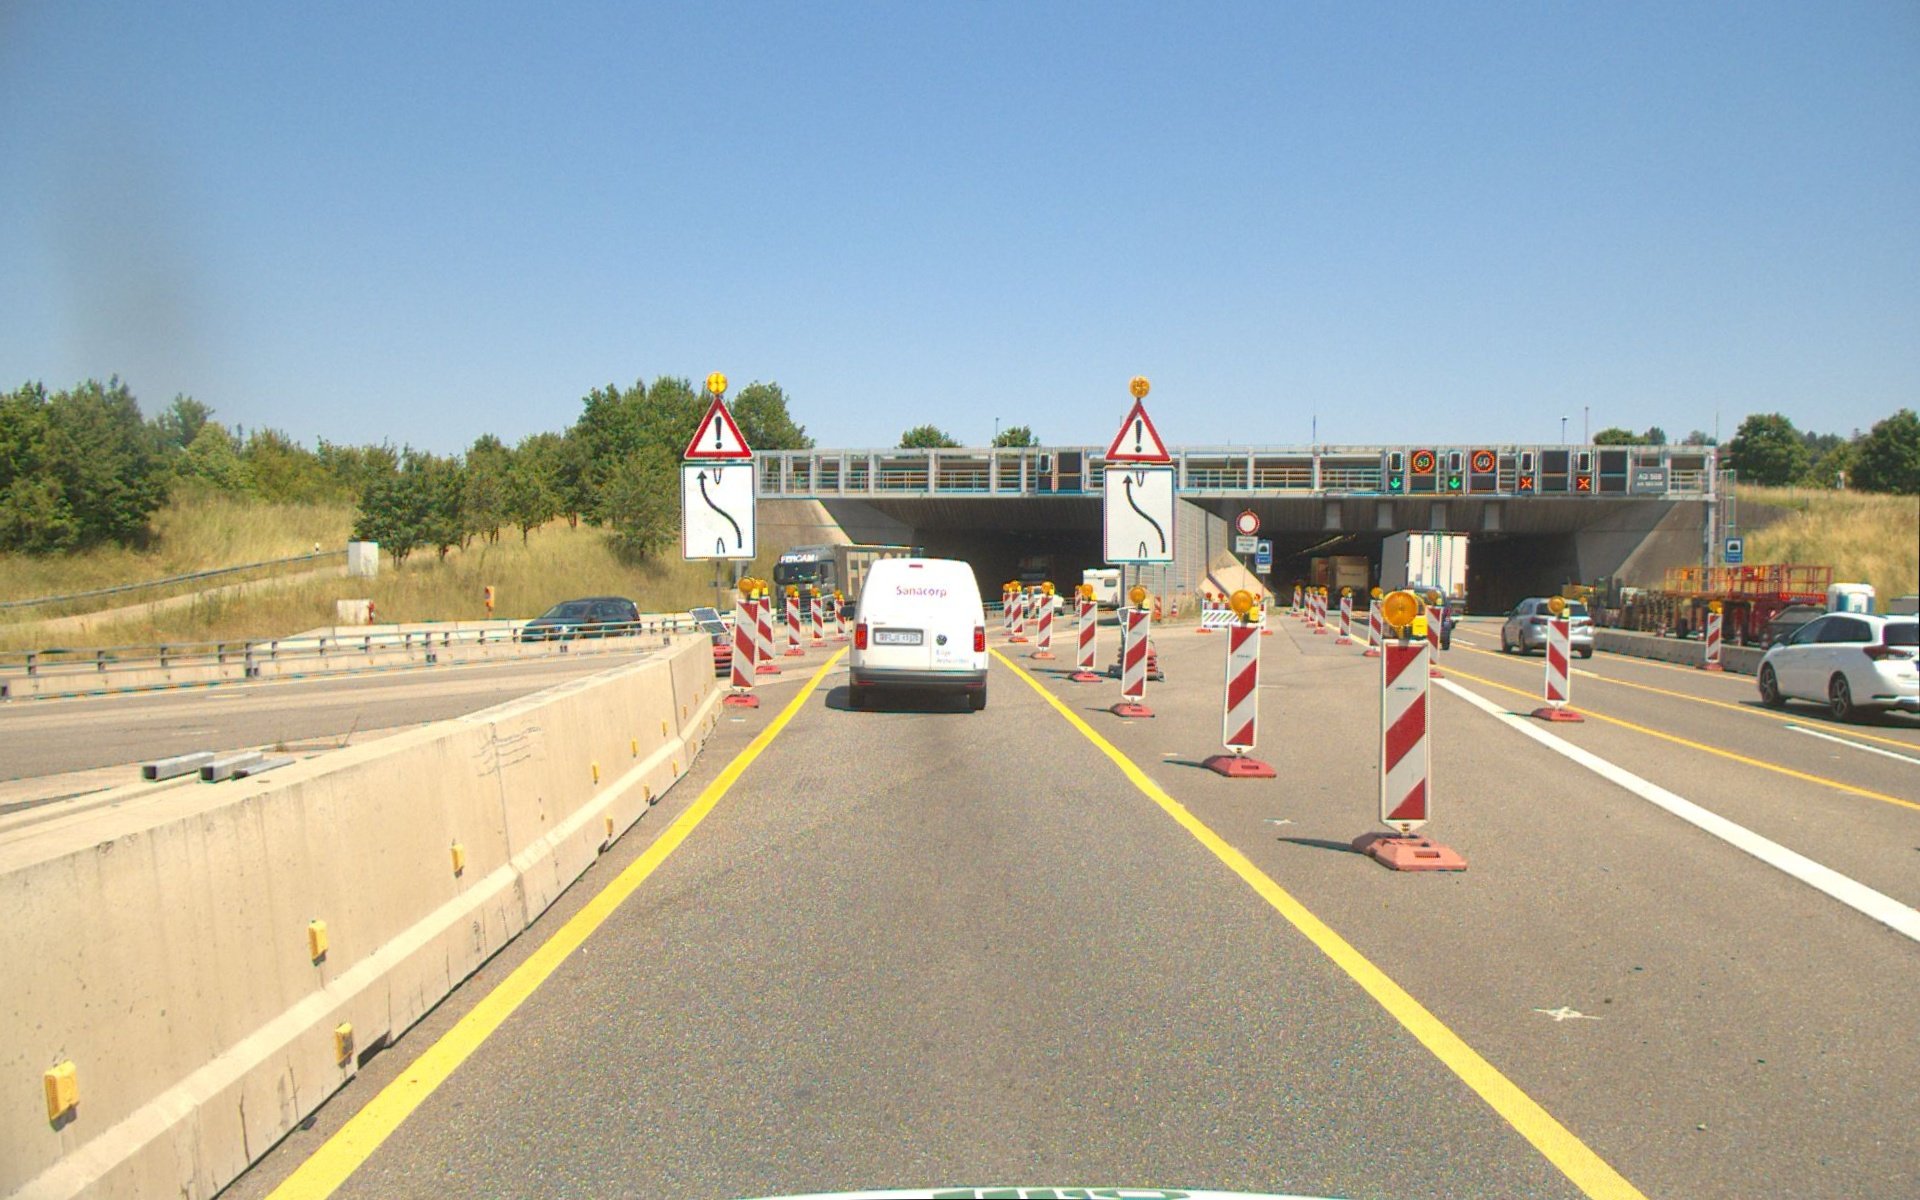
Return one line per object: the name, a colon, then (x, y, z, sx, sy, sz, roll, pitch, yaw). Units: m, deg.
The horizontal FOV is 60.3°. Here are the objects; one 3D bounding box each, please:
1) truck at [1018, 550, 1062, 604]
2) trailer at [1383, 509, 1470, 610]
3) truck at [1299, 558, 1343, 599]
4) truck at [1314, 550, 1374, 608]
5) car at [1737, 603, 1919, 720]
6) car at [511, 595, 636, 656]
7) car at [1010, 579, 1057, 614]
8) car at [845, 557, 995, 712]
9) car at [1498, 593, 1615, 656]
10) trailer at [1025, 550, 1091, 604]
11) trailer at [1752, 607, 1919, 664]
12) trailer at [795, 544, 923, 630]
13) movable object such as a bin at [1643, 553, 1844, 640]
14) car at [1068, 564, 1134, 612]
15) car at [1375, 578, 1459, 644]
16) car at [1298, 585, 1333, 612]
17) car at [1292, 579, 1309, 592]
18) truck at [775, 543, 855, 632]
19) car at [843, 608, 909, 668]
truck: (6.348, -1.790, 130.861, 2.285, 4.180, 5.020, 0, 0, 17)
trailer: (21.197, -1.642, 75.772, 2.674, 4.133, 14.107, 2, 0, 11)
truck: (38.948, -2.240, 179.078, 3.329, 4.142, 16.549, 2, 0, 8)
truck: (32.324, -1.632, 139.922, 3.329, 4.411, 16.548, 2, -1, 8)
car: (12.953, 0.871, 23.617, 1.777, 1.490, 4.654, 3, -1, 4)
car: (-11.631, 0.733, 50.056, 1.662, 1.760, 4.453, 0, 0, 17)
car: (3.864, -0.180, 86.288, 1.770, 1.781, 4.413, 0, 0, 12)
car: (-0.493, 0.404, 21.422, 1.772, 1.825, 3.730, 0, 0, -1)
car: (15.643, 0.612, 43.600, 1.776, 1.490, 4.656, 2, 0, 6)
trailer: (8.225, -1.823, 136.939, 2.288, 4.174, 13.268, 0, 0, 17)
trailer: (27.529, 1.059, 52.124, 2.540, 1.596, 6.239, -1, 0, 4)
trailer: (-5.269, -0.683, 90.442, 2.384, 4.372, 13.817, 0, 0, 17)
movable object such as a bin: (31.104, -0.131, 66.615, 3.045, 3.063, 14.713, -1, 0, 8)
car: (8.936, -0.725, 104.331, 2.754, 2.822, 7.105, 1, -1, 16)
car: (12.646, 0.303, 46.014, 1.776, 1.671, 4.656, 2, 0, 10)
car: (23.609, -0.107, 109.950, 1.777, 1.658, 4.193, 2, 0, 5)
car: (51.621, -2.206, 250.922, 2.282, 1.870, 4.547, 2, 0, 8)
truck: (-7.300, -0.625, 83.678, 2.380, 4.344, 4.841, 0, 0, 17)
car: (-2.364, 1.025, 46.204, 1.772, 1.564, 4.406, 0, 0, -3)
